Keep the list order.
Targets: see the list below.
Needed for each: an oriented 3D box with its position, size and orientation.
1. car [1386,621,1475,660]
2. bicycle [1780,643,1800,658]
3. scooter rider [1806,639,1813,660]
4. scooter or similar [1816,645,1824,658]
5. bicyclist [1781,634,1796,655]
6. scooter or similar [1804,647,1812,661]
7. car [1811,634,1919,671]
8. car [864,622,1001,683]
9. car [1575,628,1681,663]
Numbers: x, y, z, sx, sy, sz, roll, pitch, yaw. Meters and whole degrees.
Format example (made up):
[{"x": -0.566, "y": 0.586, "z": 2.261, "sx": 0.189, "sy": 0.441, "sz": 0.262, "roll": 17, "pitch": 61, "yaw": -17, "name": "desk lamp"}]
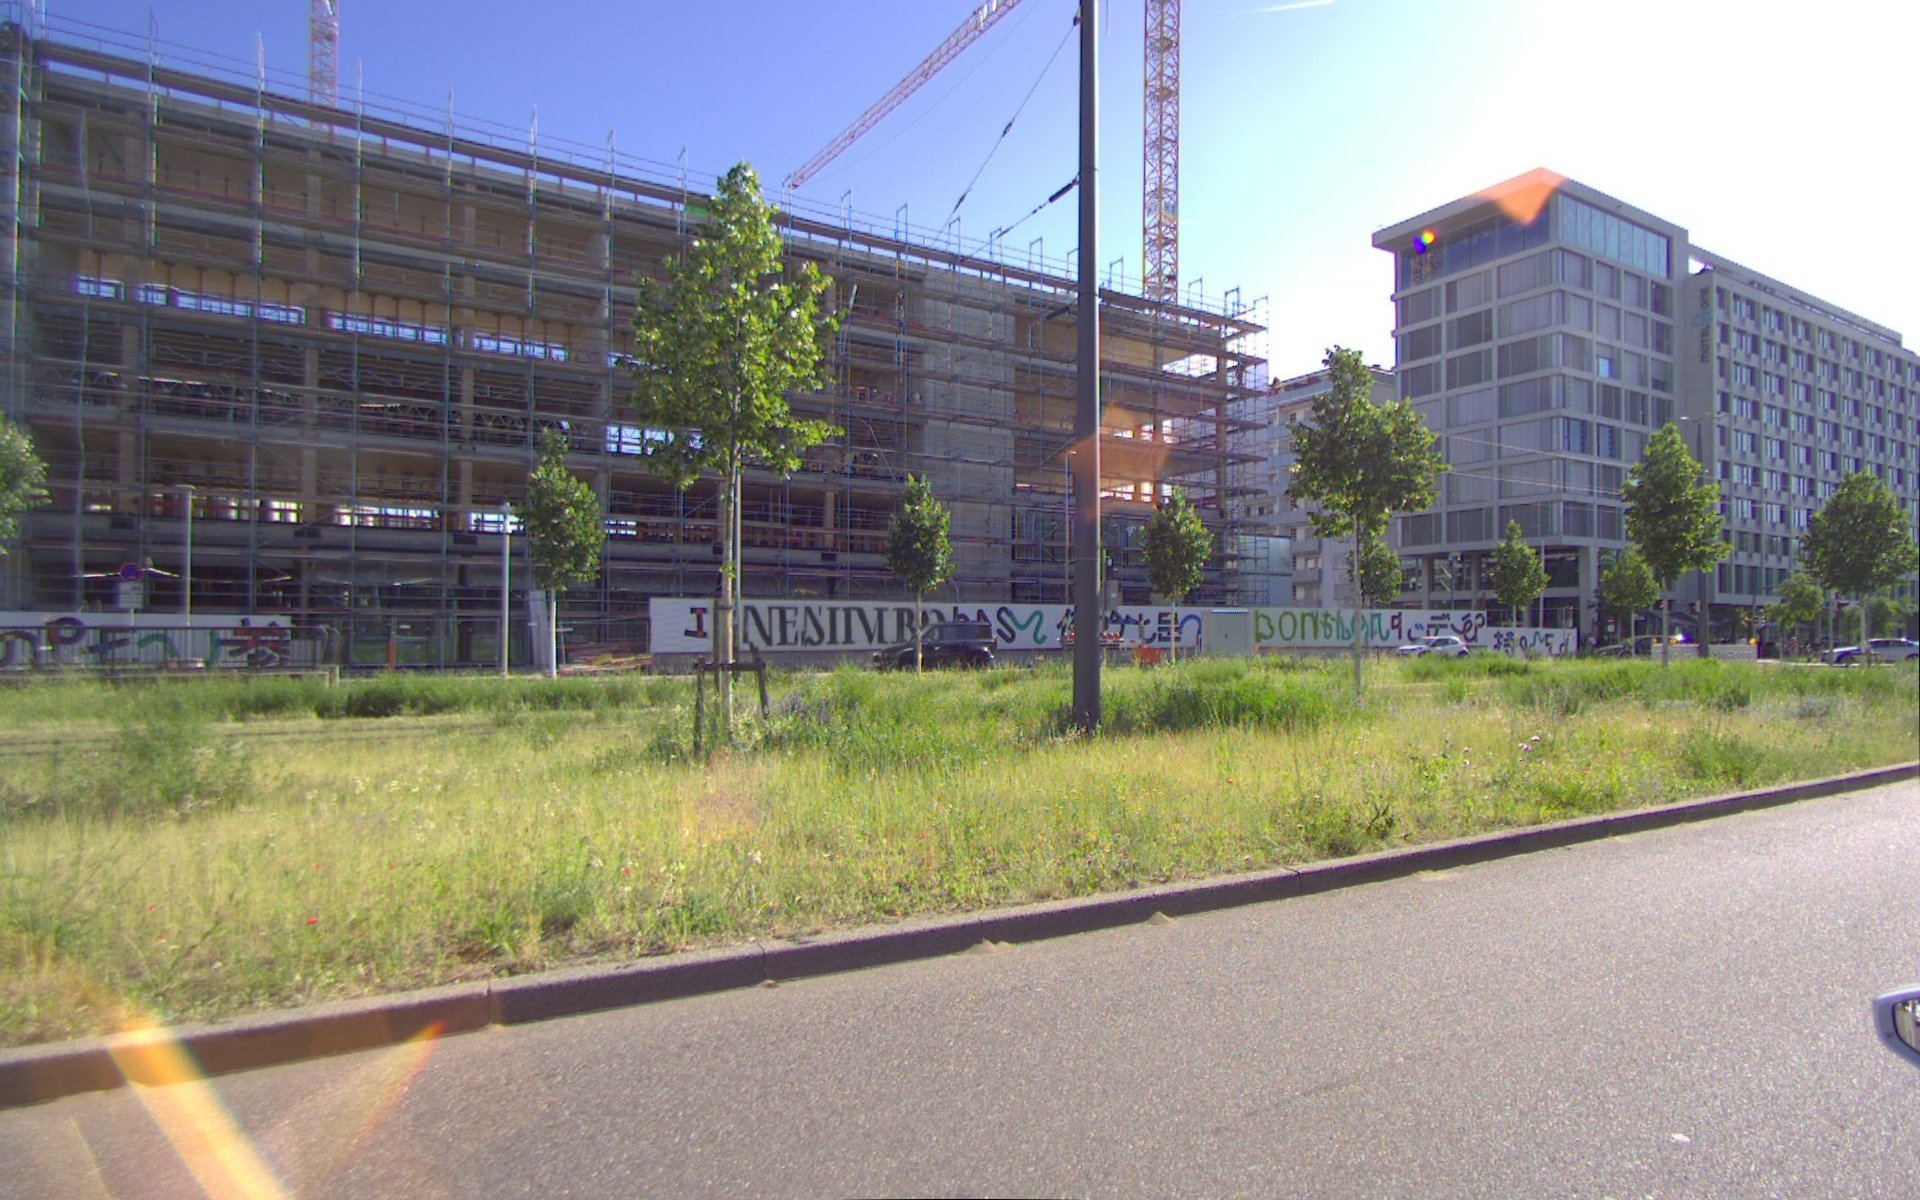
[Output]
[{"x": 24.283, "y": 2.060, "z": 51.818, "sx": 3.922, "sy": 1.943, "sz": 1.908, "roll": 1, "pitch": -1, "yaw": -17, "name": "car"}, {"x": 65.134, "y": 3.972, "z": 78.788, "sx": 1.602, "sy": 1.115, "sz": 0.584, "roll": 2, "pitch": 0, "yaw": -27, "name": "bicycle"}, {"x": 61.963, "y": 3.601, "z": 73.273, "sx": 0.236, "sy": 1.472, "sz": 0.340, "roll": 1, "pitch": -1, "yaw": -30, "name": "scooter rider"}, {"x": 62.142, "y": 3.708, "z": 72.581, "sx": 0.758, "sy": 0.960, "sz": 0.227, "roll": 2, "pitch": -2, "yaw": -31, "name": "scooter or similar"}, {"x": 65.066, "y": 3.530, "z": 78.883, "sx": 0.881, "sy": 1.601, "sz": 0.591, "roll": 2, "pitch": 0, "yaw": -27, "name": "bicyclist"}, {"x": 61.843, "y": 3.925, "z": 73.225, "sx": 0.761, "sy": 0.960, "sz": 0.283, "roll": 2, "pitch": -2, "yaw": -39, "name": "scooter or similar"}, {"x": 47.269, "y": 2.681, "z": 52.088, "sx": 4.443, "sy": 1.816, "sz": 1.998, "roll": 0, "pitch": -1, "yaw": 27, "name": "car"}, {"x": -0.931, "y": 1.750, "z": 34.173, "sx": 4.275, "sy": 1.943, "sz": 1.901, "roll": 1, "pitch": -1, "yaw": -28, "name": "car"}, {"x": 36.578, "y": 2.491, "z": 55.081, "sx": 4.436, "sy": 1.816, "sz": 2.001, "roll": 1, "pitch": -1, "yaw": 2, "name": "car"}]
